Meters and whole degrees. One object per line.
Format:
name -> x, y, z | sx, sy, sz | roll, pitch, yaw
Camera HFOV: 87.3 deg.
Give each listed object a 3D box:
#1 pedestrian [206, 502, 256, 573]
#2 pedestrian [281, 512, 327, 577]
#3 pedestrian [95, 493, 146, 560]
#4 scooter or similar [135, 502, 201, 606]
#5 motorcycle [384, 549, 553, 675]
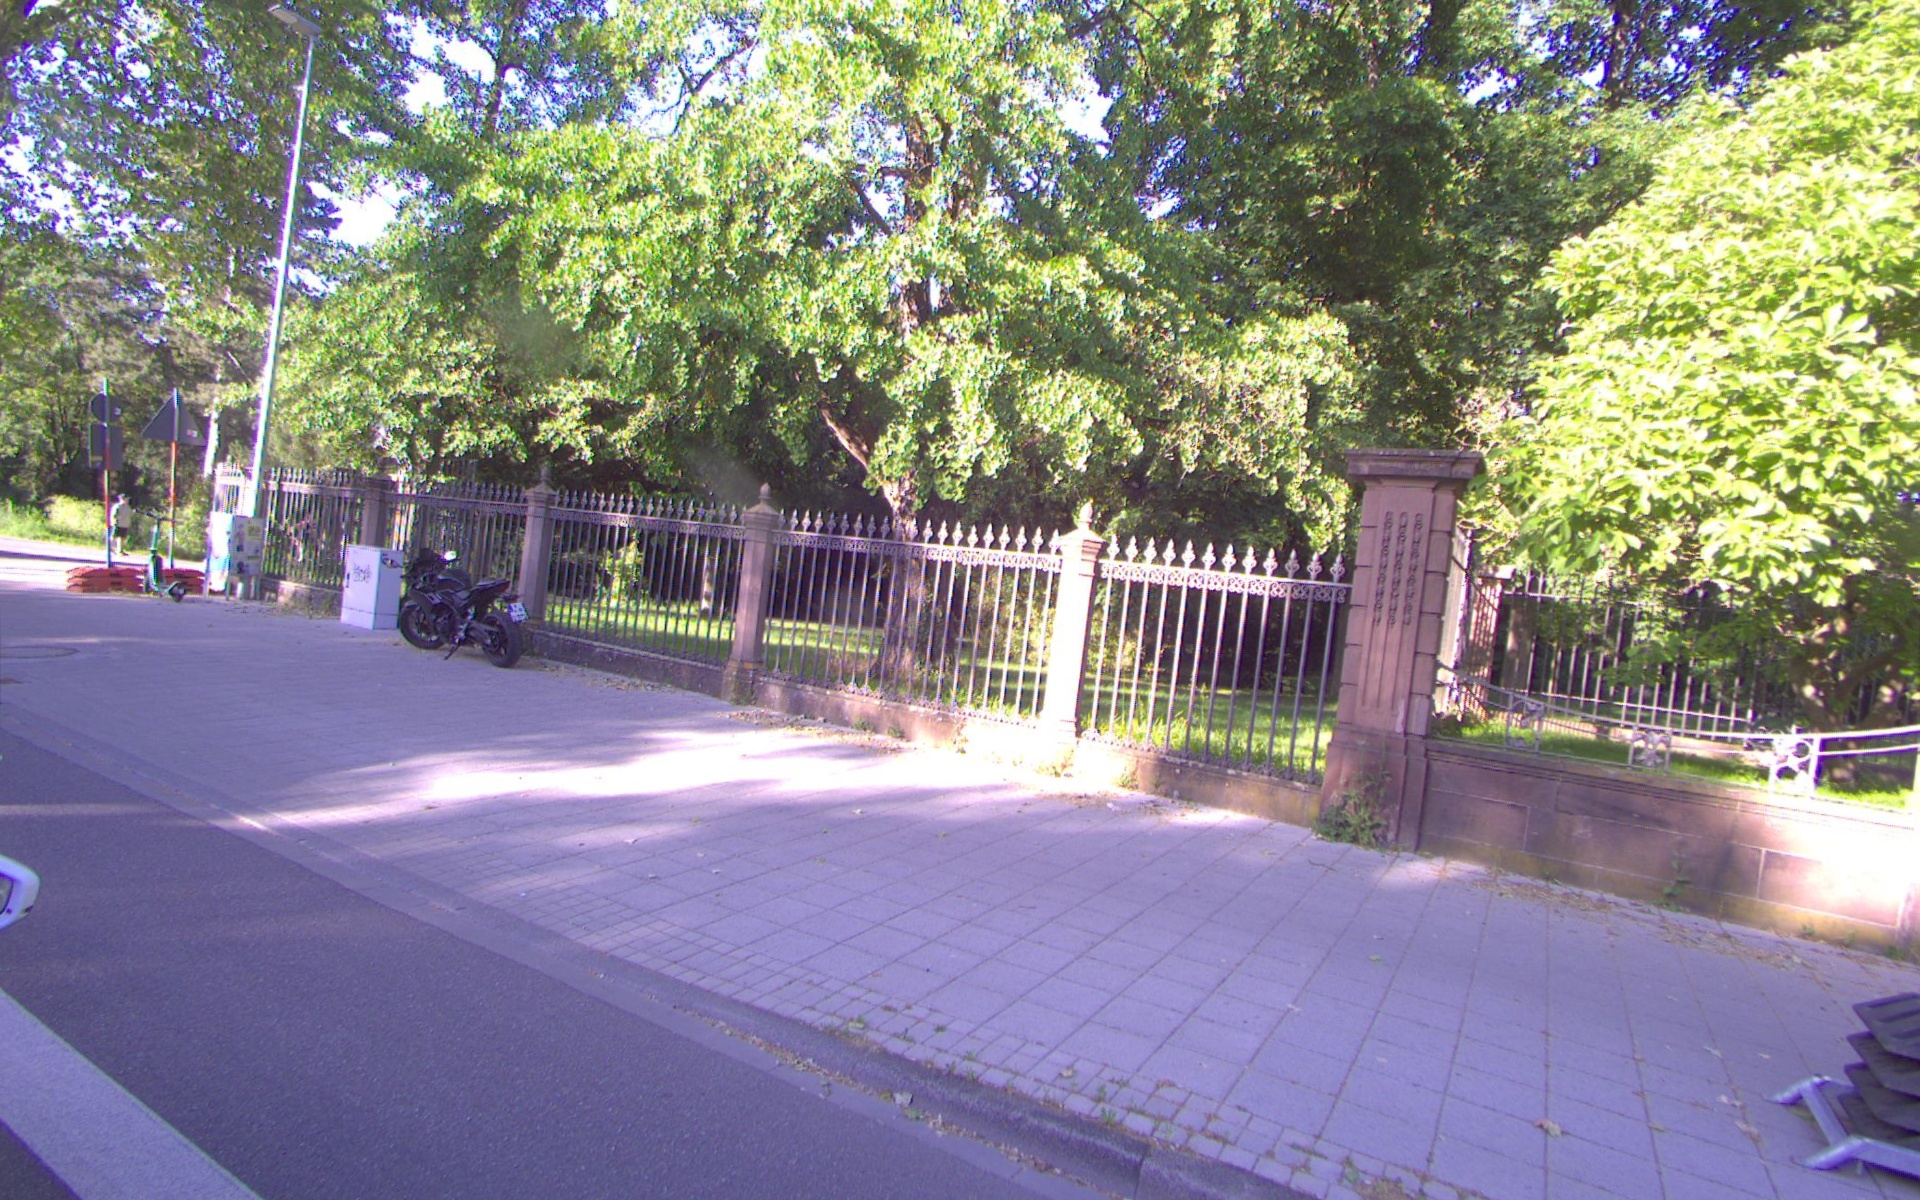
pedestrian -> -18.881, -1.608, 26.052 | 0.633, 1.719, 0.690 | 7, 0, 31
pedestrian -> -18.542, -1.558, 28.442 | 0.823, 1.702, 0.685 | 7, 0, -45
pedestrian -> -20.992, -1.835, 25.172 | 0.815, 1.536, 0.906 | 7, -1, -40
scooter or similar -> -11.149, -0.659, 14.150 | 1.152, 1.344, 0.228 | 7, 2, 30
motorcycle -> -5.452, 0.112, 11.101 | 2.134, 1.146, 0.506 | 7, 2, 30
